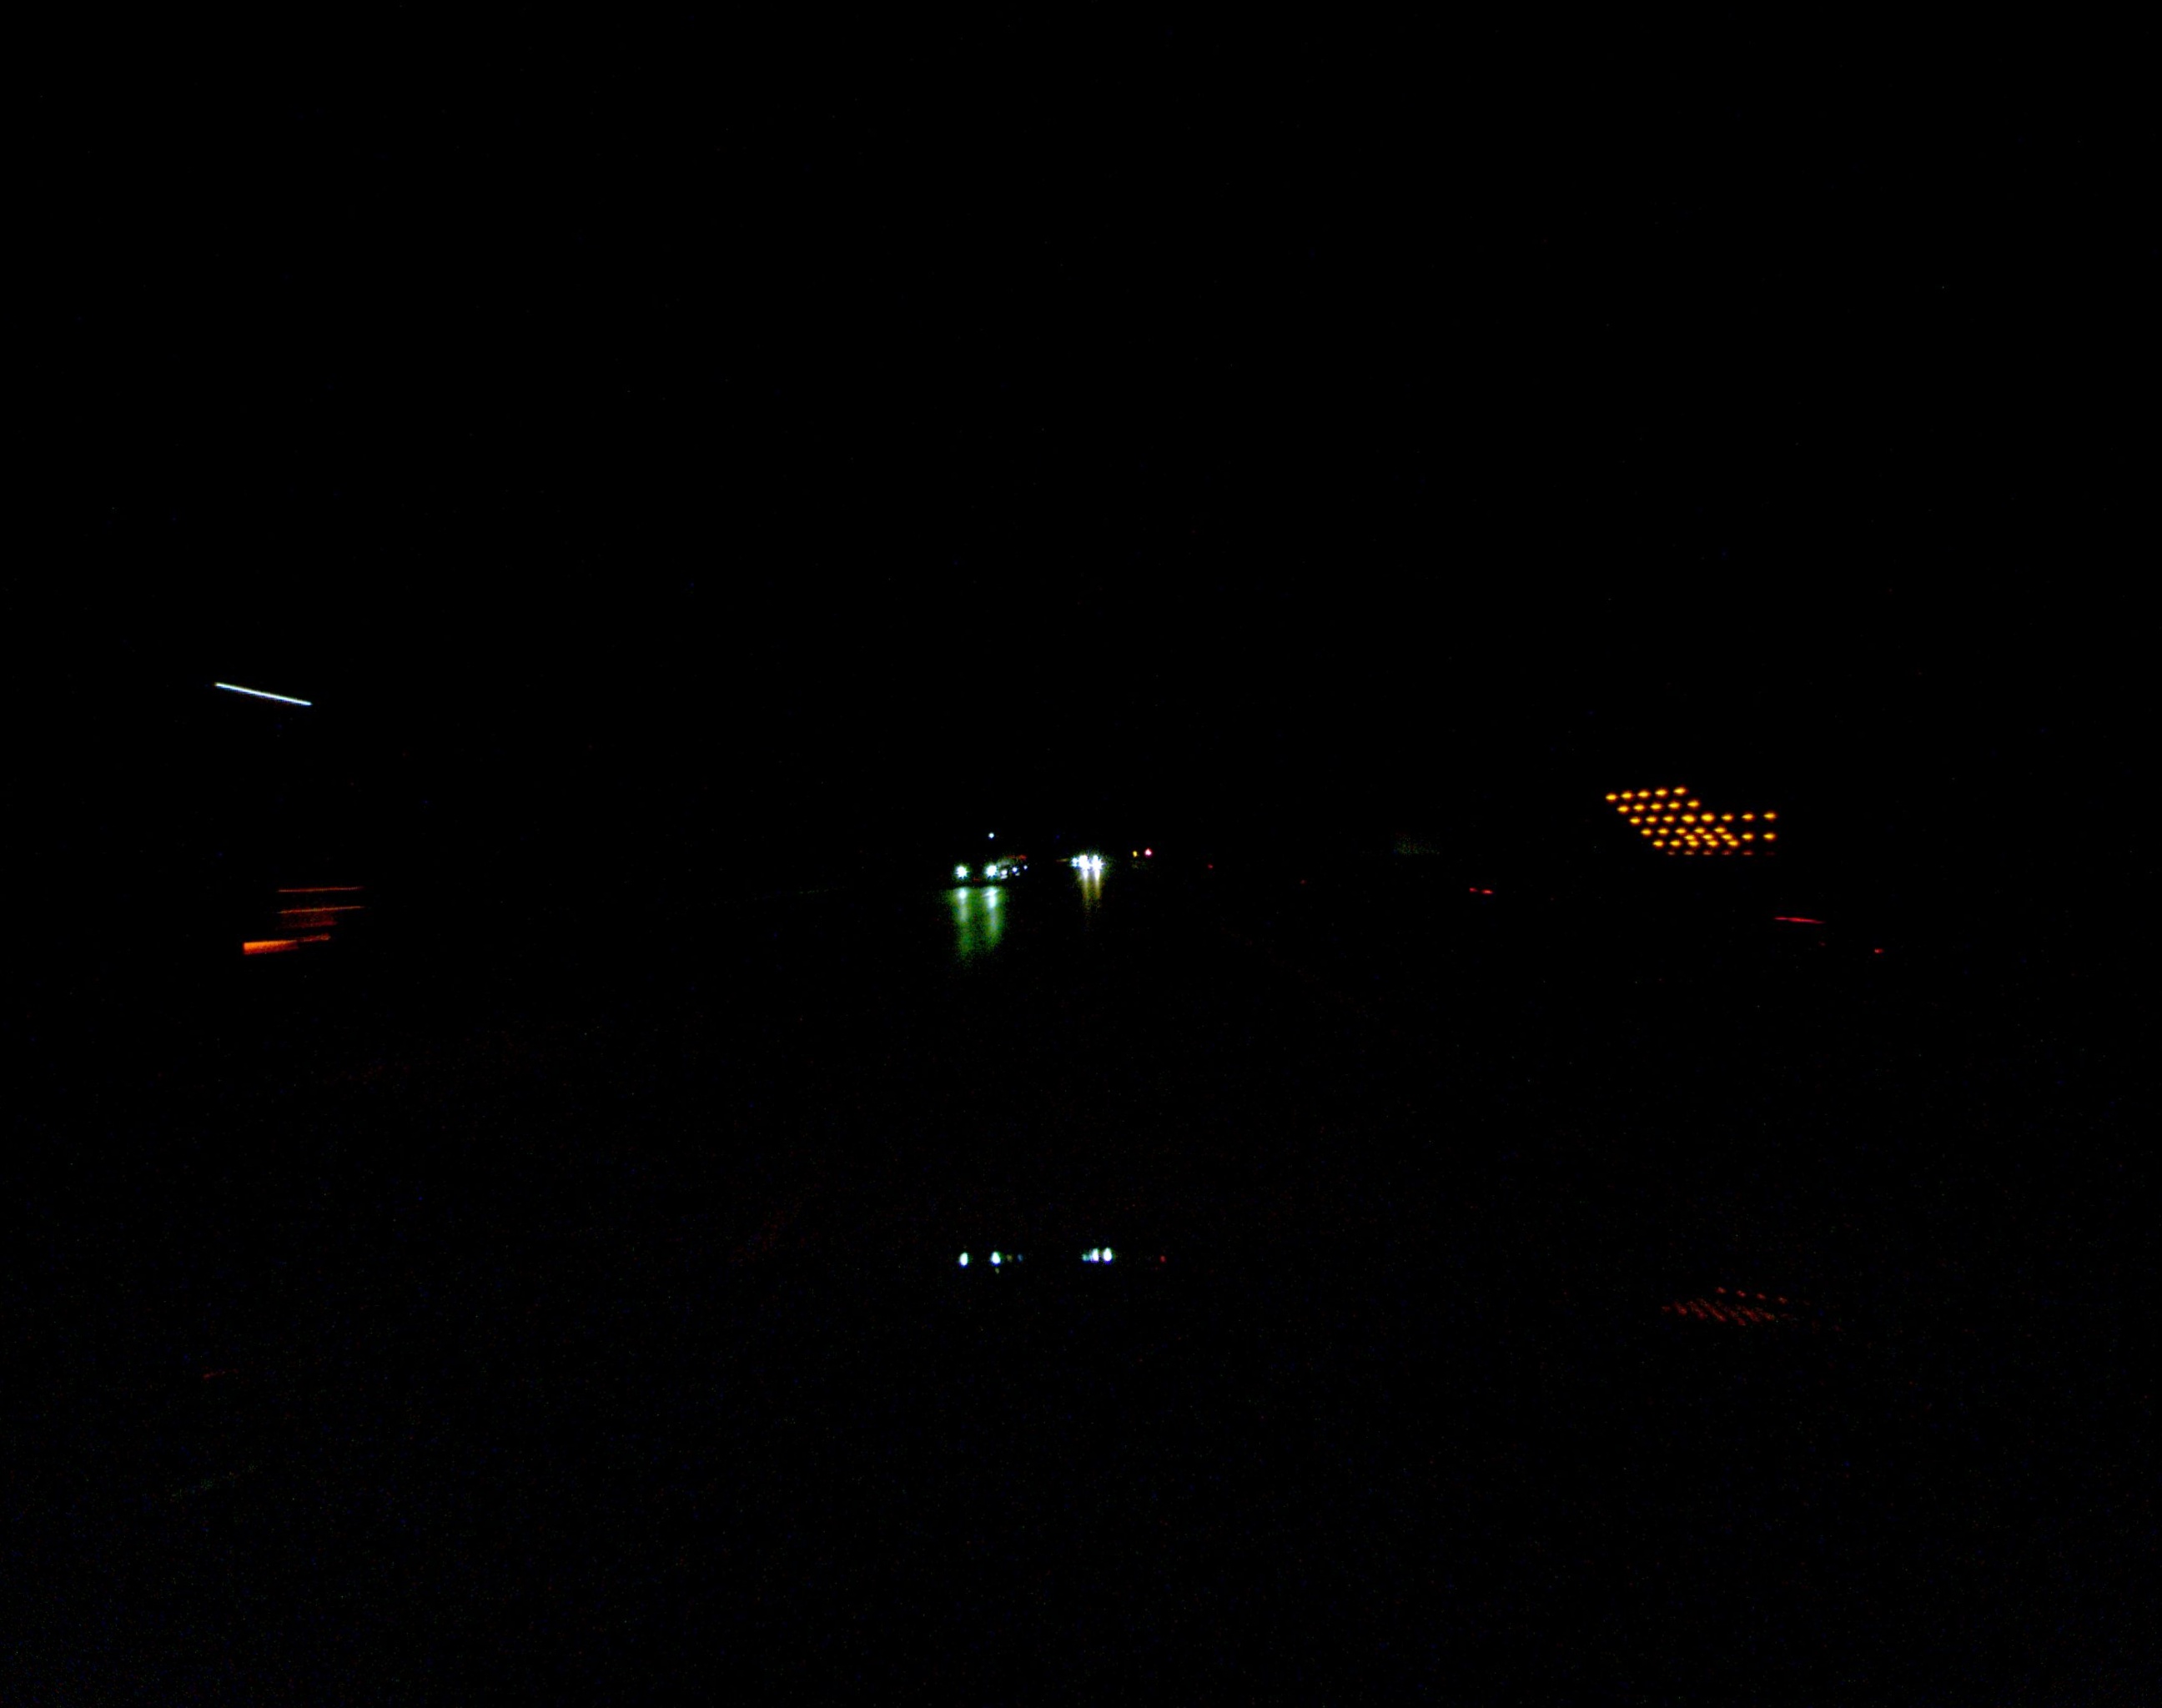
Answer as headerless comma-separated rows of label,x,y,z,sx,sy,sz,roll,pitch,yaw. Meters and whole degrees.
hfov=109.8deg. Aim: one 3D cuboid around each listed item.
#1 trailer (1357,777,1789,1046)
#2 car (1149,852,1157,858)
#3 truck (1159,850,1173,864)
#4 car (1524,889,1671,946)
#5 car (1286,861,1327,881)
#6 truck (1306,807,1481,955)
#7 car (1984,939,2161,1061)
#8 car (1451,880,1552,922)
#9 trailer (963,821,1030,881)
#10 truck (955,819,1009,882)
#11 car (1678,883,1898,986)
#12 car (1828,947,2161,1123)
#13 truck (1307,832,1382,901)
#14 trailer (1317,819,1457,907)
trailer,8.754,0.757,15.736,2.541,3.692,10.126,-2,1,2
car,23.057,0.316,242.689,1.999,2.002,3.999,-2,1,-2
truck,22.233,0.873,198.572,2.661,3.570,8.549,-1,0,0
car,17.031,2.039,25.363,1.998,1.482,4.403,-1,0,1
car,17.837,1.344,60.363,1.998,1.482,4.403,-1,0,1
truck,9.019,0.659,22.875,2.609,3.722,6.755,-2,1,2
car,16.489,2.208,10.858,1.998,1.482,4.403,-1,0,1
car,17.843,1.967,32.516,1.998,1.482,4.403,-1,0,1
trailer,-6.157,-0.214,58.655,2.839,3.951,15.766,-1,0,2
truck,-6.448,-0.197,49.954,2.900,3.948,4.000,-1,0,1
car,16.559,1.789,18.127,1.893,2.002,4.002,-1,0,8
car,12.574,2.184,9.930,1.804,1.408,4.001,1,0,3
truck,17.942,0.772,52.174,3.094,4.291,6.283,-2,1,3
trailer,17.647,0.362,45.530,3.155,4.291,14.812,-2,1,3
